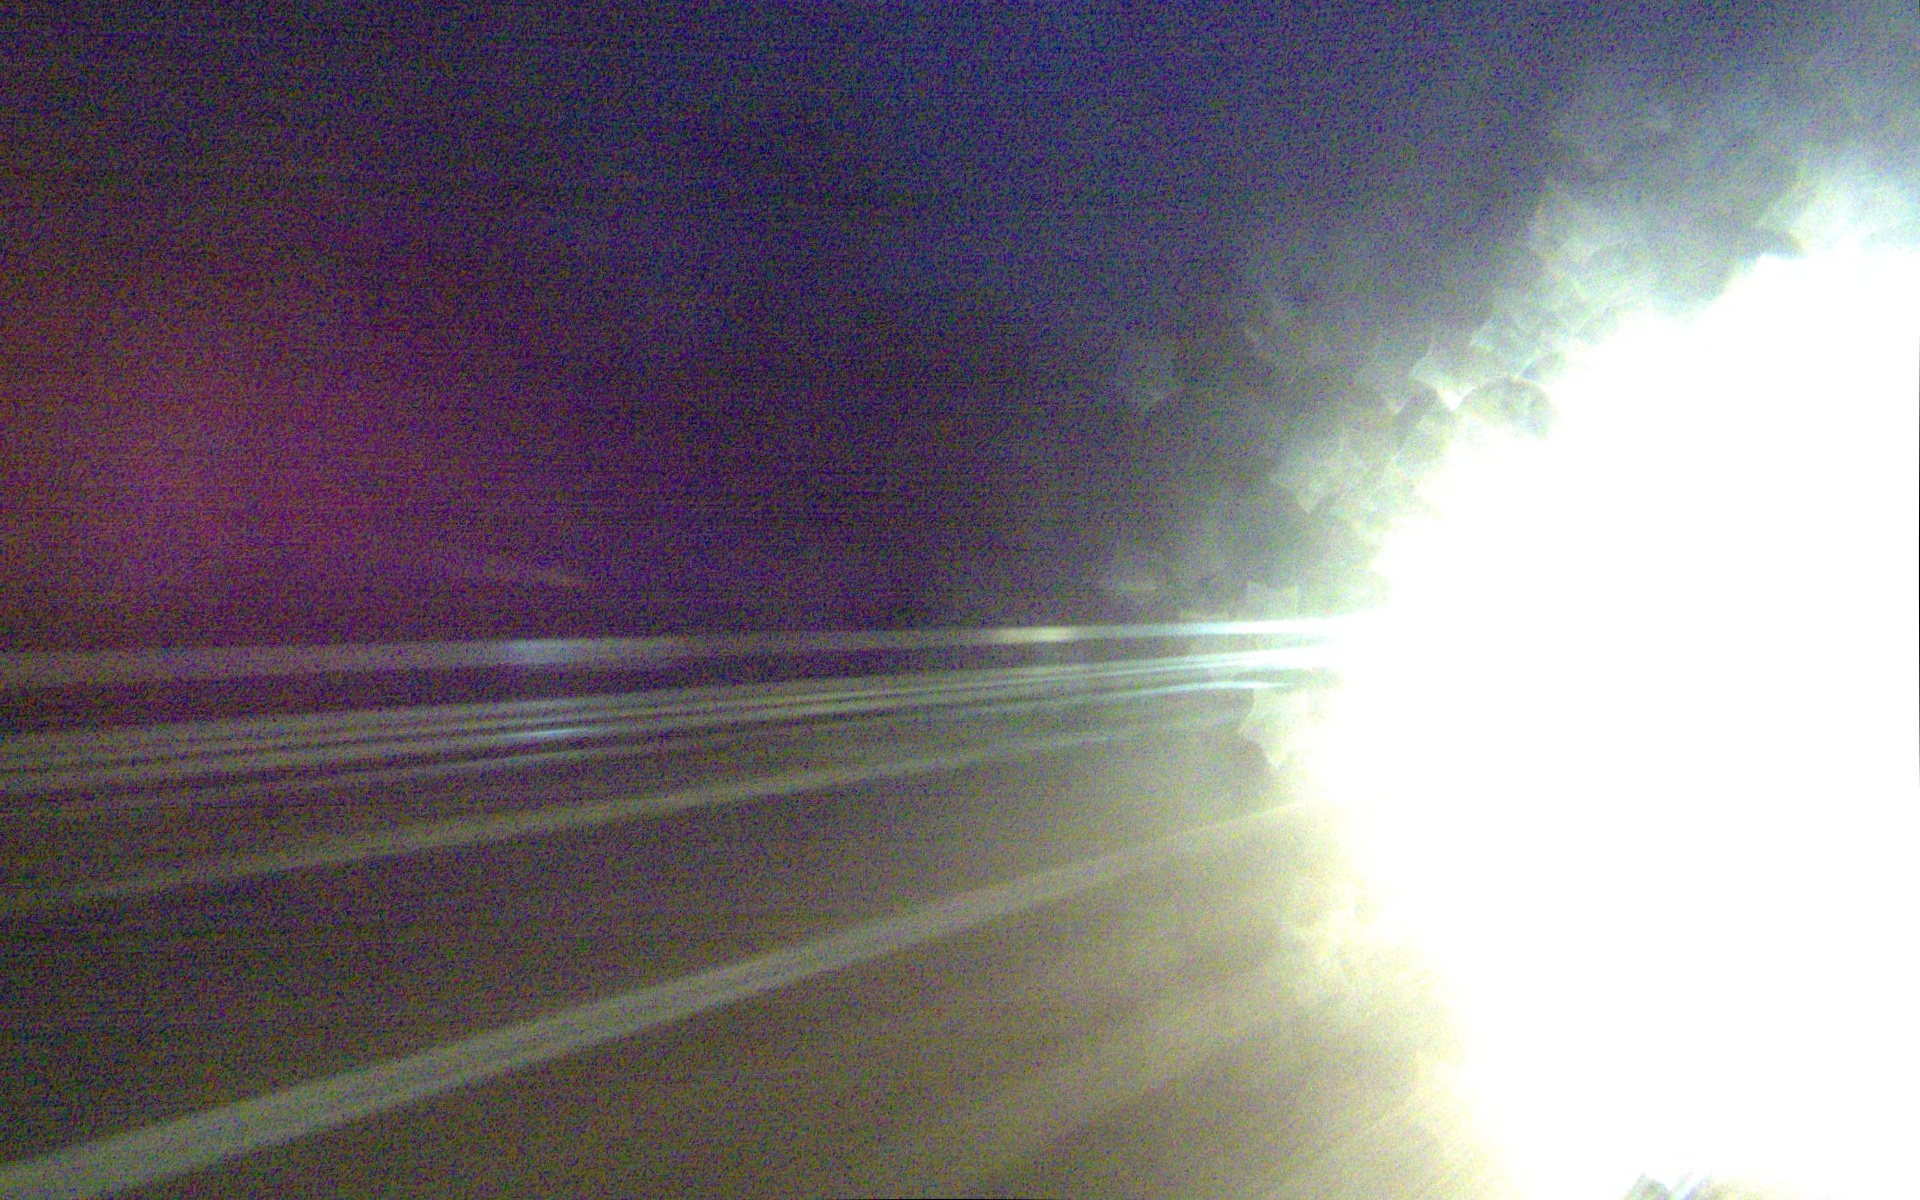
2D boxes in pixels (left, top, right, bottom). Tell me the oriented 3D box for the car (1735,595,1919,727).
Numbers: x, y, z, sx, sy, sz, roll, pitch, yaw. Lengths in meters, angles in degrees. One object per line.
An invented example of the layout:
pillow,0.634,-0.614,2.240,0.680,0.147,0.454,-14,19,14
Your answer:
car,11.802,0.690,13.352,4.122,1.476,1.772,0,0,-42
